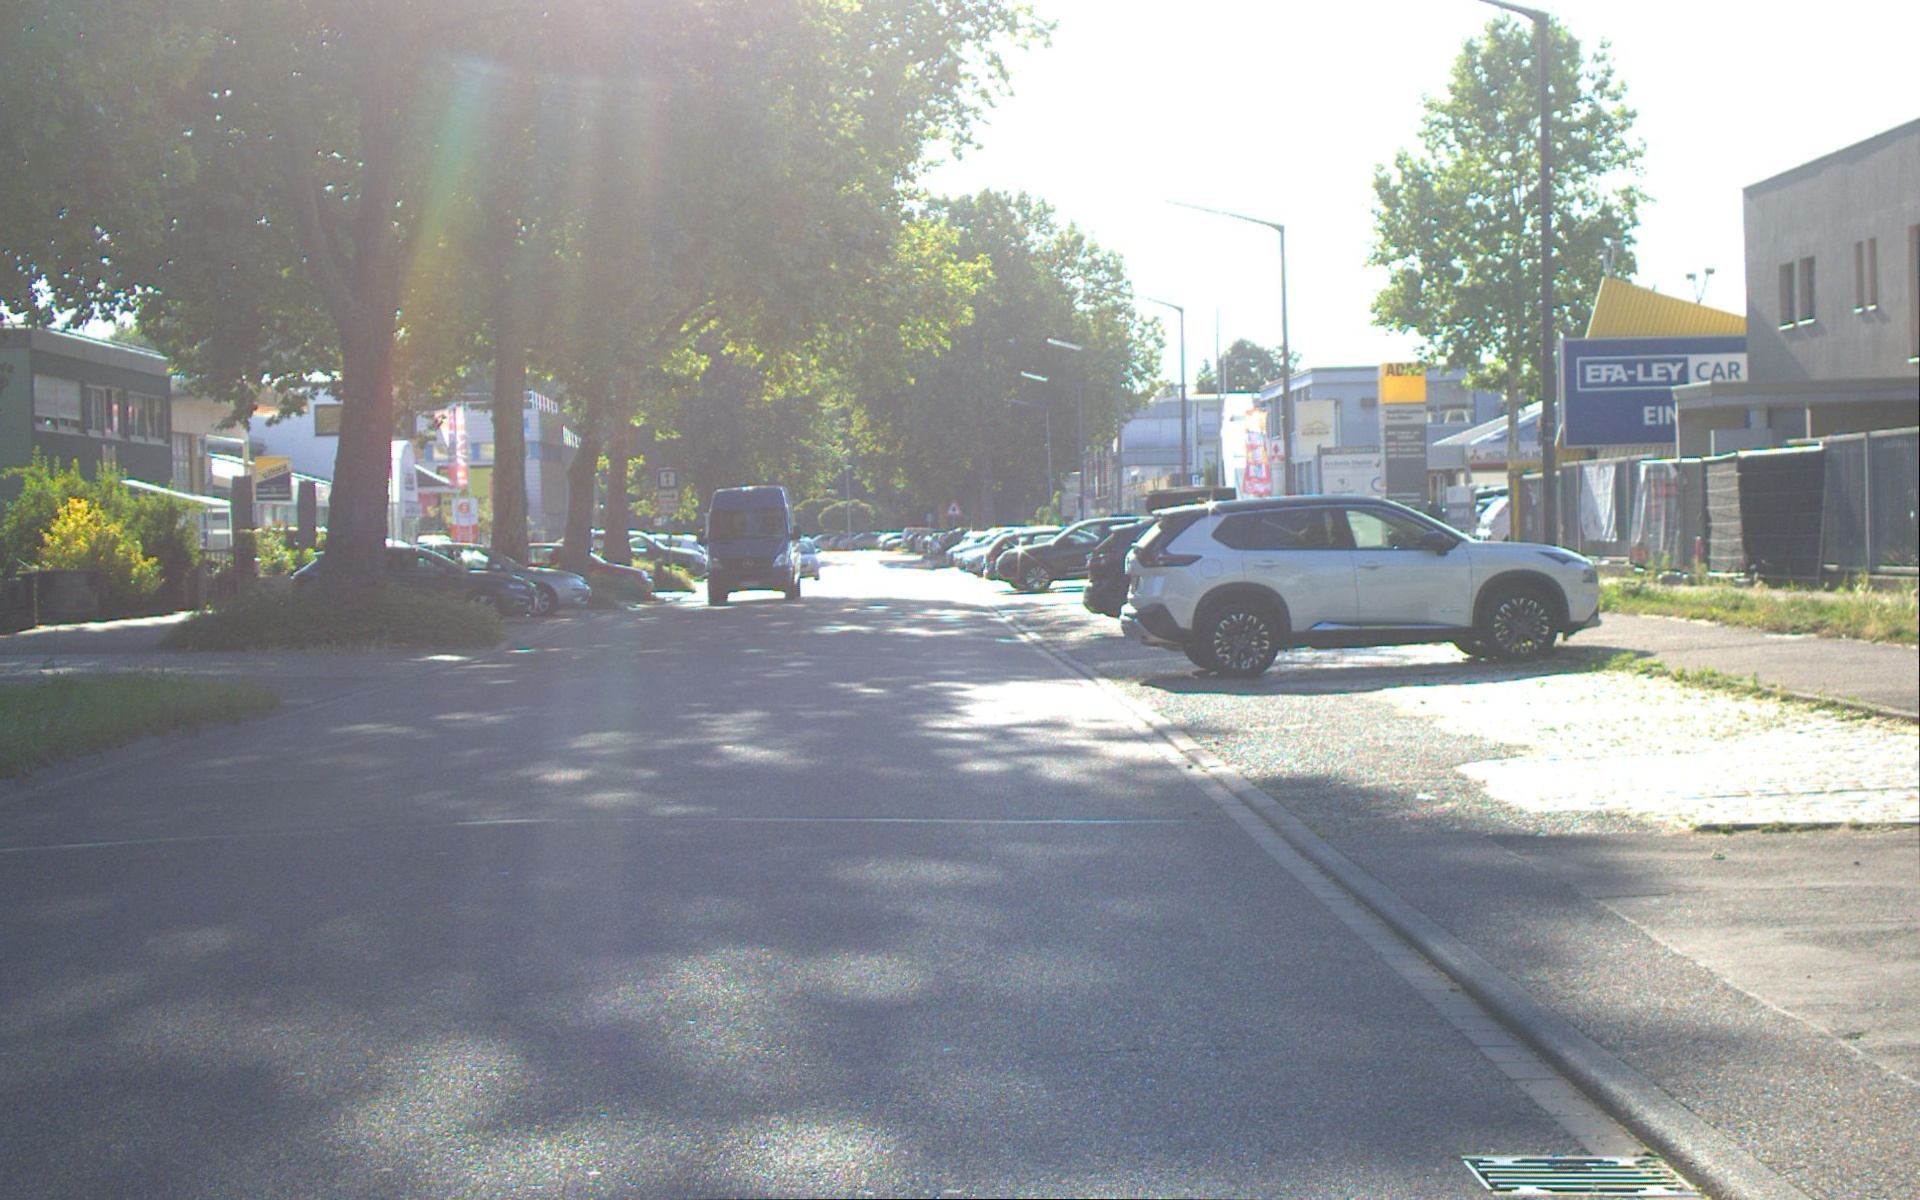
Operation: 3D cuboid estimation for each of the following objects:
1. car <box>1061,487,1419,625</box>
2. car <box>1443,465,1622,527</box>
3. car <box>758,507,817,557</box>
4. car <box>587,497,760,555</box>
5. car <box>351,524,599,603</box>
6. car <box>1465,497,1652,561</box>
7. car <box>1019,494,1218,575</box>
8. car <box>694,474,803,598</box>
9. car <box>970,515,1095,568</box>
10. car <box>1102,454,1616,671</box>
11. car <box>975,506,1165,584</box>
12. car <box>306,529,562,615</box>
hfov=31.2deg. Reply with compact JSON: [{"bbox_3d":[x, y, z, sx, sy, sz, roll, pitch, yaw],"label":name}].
[{"bbox_3d":[3.829,-0.616,47.565,4.624,1.521,2.000,-4,1,-2],"label":"car"},{"bbox_3d":[14.139,-2.562,85.037,3.986,1.514,1.954,0,1,-5],"label":"car"},{"bbox_3d":[-5.824,-2.316,116.504,1.838,1.565,3.802,-3,1,-1],"label":"car"},{"bbox_3d":[-7.280,-1.877,87.695,4.296,1.441,2.000,0,1,-1],"label":"car"},{"bbox_3d":[-9.479,-0.729,67.449,4.599,1.417,2.000,-1,2,-1],"label":"car"},{"bbox_3d":[14.206,-1.681,81.670,3.986,1.492,2.000,0,1,-5],"label":"car"},{"bbox_3d":[3.750,-1.554,81.960,4.601,1.574,2.000,-4,1,1],"label":"car"},{"bbox_3d":[-4.813,-1.530,79.069,2.127,2.650,7.002,-2,2,-1],"label":"car"},{"bbox_3d":[2.446,-1.985,116.356,3.986,1.582,1.868,-3,1,-4],"label":"car"},{"bbox_3d":[3.840,-0.377,33.647,4.624,1.706,2.000,-4,1,-2],"label":"car"},{"bbox_3d":[2.774,-1.392,87.213,4.600,1.607,2.000,-4,1,-1],"label":"car"},{"bbox_3d":[-9.404,-0.522,61.719,4.353,1.417,2.000,-1,2,-3],"label":"car"}]
